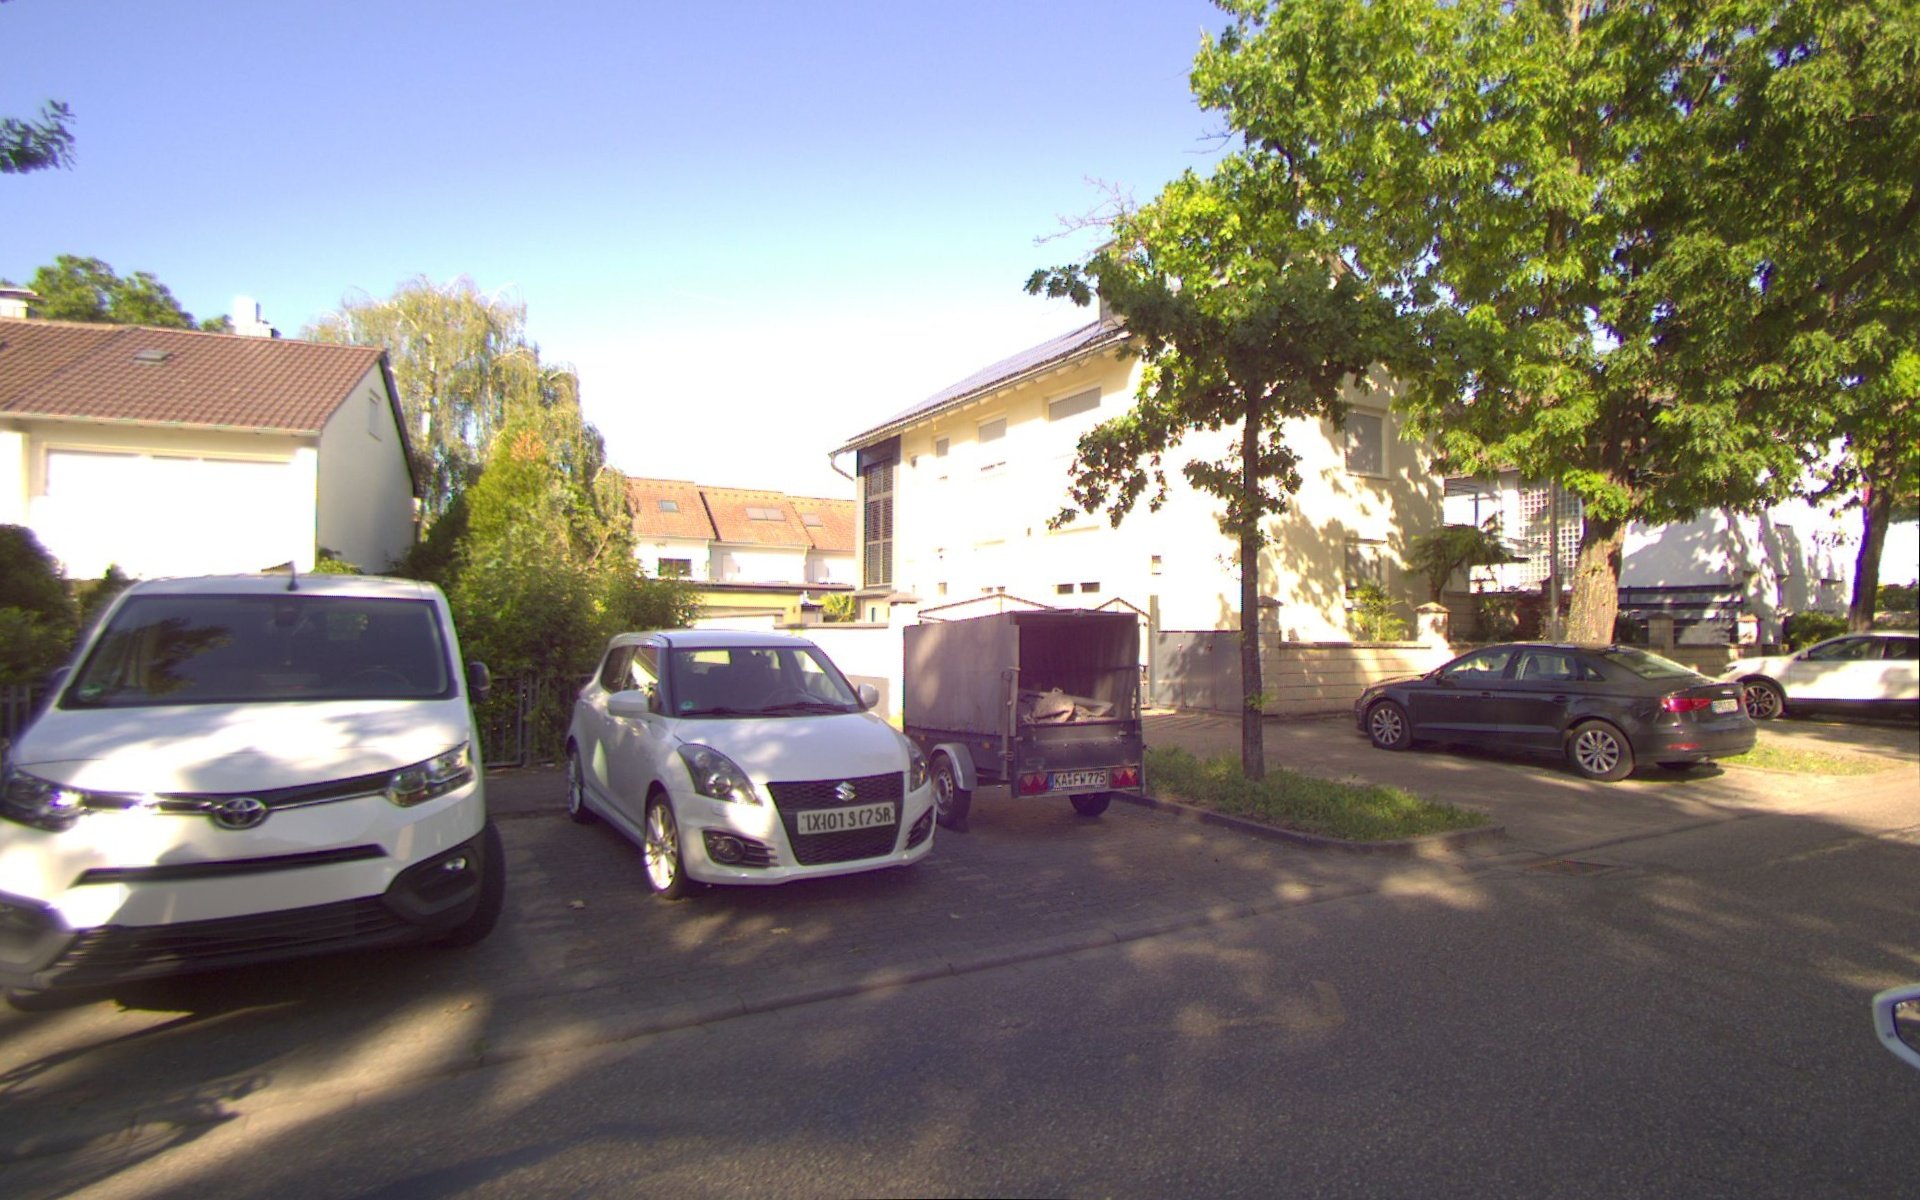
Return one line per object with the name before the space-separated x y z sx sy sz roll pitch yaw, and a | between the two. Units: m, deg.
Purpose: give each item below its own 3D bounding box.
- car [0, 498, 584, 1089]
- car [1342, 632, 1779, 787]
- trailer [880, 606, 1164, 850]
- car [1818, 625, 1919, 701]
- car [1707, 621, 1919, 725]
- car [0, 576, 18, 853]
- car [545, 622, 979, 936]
car | -3.613 0.731 5.607 1.978 1.969 4.213 2 -3 -32
car | 6.841 1.127 11.946 1.671 1.491 4.190 1 -2 -30
trailer | 0.413 0.925 8.322 1.455 1.696 2.228 1 -1 -26
car | 20.072 1.304 20.149 1.790 1.442 4.012 1 0 -32
car | 15.627 1.209 17.240 1.770 1.588 4.169 1 0 -29
car | -6.053 0.722 4.439 1.946 1.793 4.214 1 -1 -32
car | -1.663 0.945 7.138 1.672 1.536 3.964 1 -1 -33
